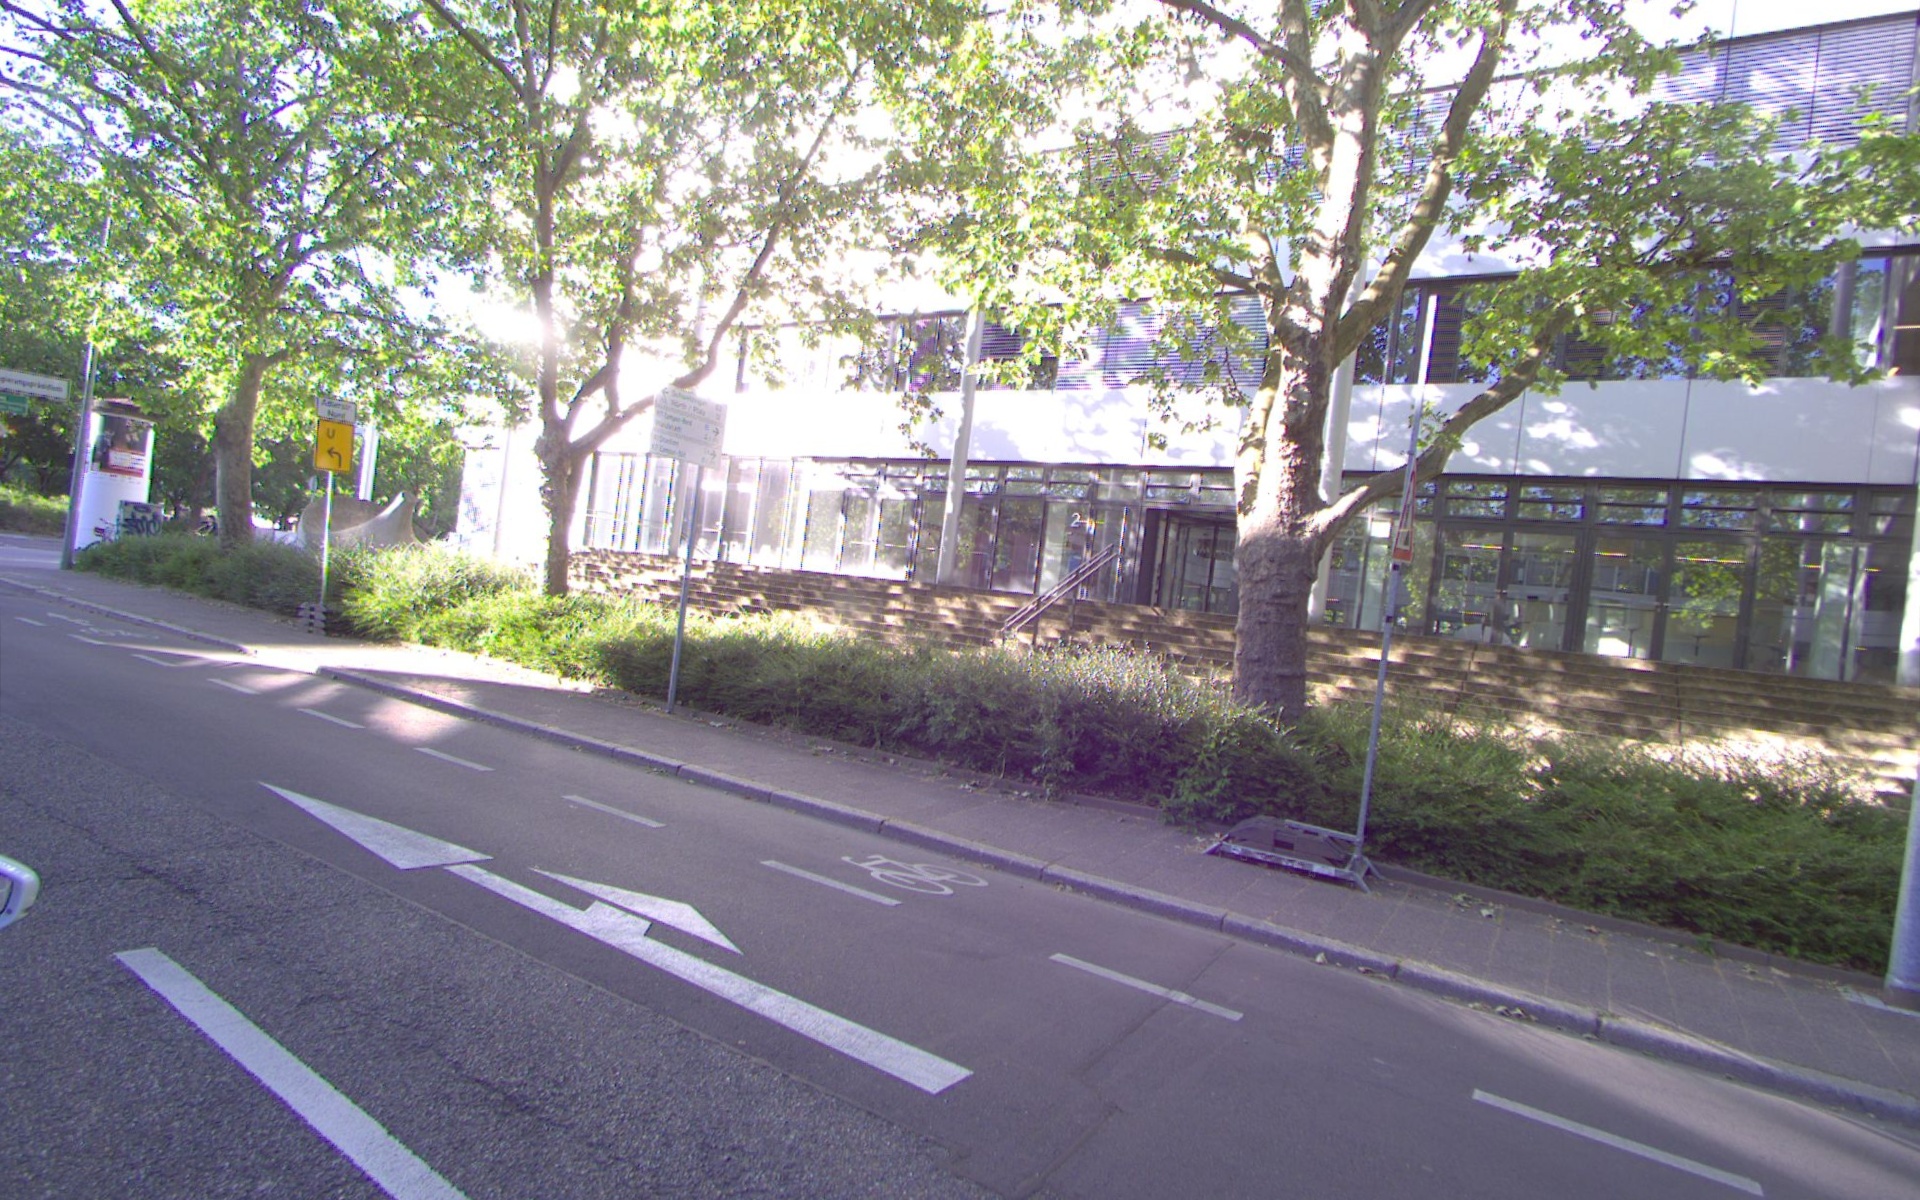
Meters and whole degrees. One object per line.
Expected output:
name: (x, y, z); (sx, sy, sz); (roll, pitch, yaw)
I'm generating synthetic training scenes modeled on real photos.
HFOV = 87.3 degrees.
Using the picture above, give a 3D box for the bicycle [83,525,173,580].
bicycle: (-19.084, -1.083, 23.103); (0.529, 1.049, 1.418); (7, -1, 28)

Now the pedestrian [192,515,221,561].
pedestrian: (-31.399, -2.571, 41.933); (0.620, 1.805, 0.620); (7, 0, 34)

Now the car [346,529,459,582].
car: (-25.884, -2.047, 46.801); (1.969, 1.805, 3.998); (7, -1, 37)
